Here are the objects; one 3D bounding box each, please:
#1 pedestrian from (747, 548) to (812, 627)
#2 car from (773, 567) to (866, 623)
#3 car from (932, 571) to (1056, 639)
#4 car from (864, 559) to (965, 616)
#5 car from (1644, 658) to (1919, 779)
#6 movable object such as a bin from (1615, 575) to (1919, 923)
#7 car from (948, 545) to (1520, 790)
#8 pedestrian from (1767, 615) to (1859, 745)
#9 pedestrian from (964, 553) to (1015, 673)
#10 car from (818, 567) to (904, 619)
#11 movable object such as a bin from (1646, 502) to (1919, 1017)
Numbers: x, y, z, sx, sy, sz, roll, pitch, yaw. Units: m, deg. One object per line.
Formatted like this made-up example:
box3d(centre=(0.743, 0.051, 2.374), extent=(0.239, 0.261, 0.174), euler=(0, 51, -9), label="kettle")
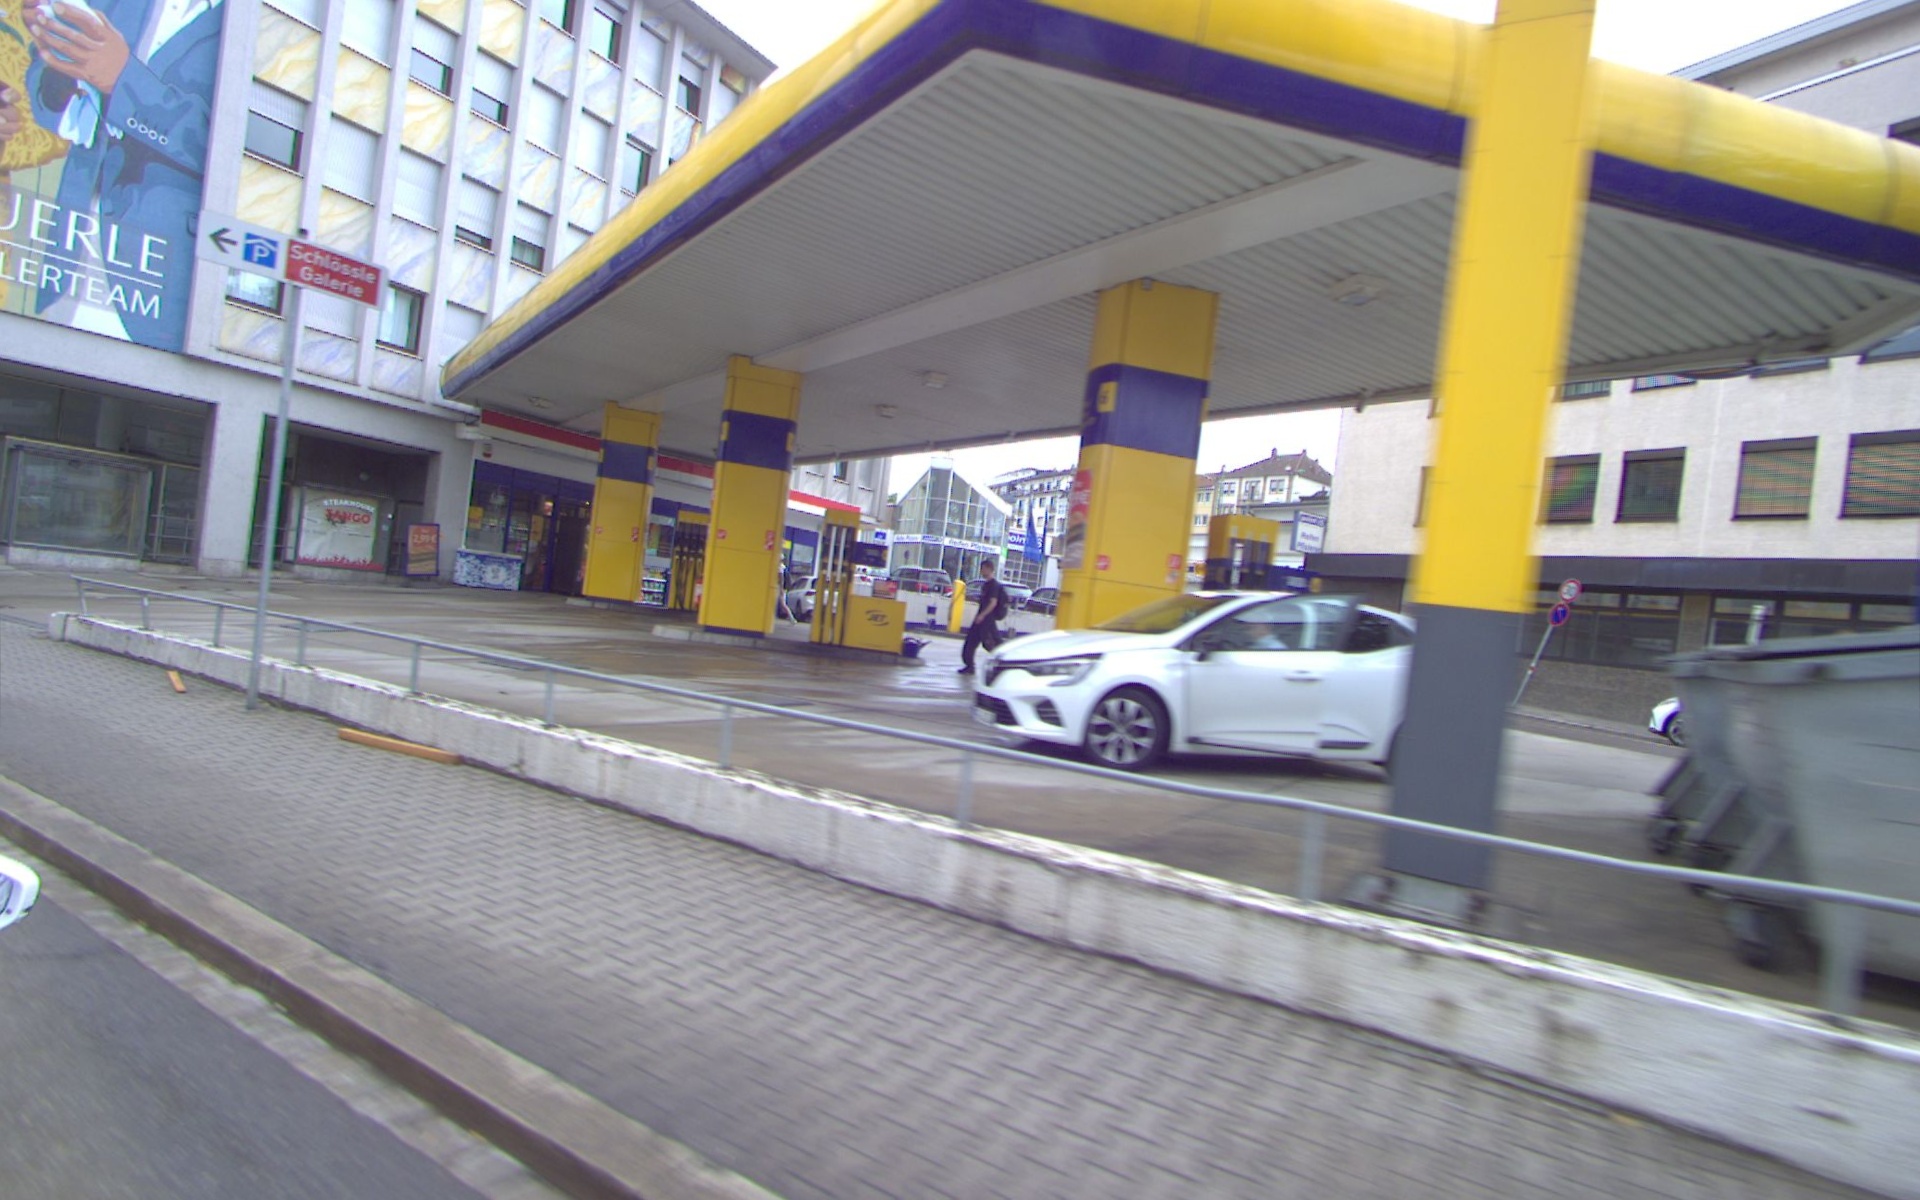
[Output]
box3d(centre=(-4.472, -0.308, 24.913), extent=(1.268, 1.821, 0.653), euler=(6, 2, 20), label="pedestrian")
box3d(centre=(-4.638, -0.186, 32.730), extent=(1.971, 1.534, 4.399), euler=(5, -1, -21), label="car")
box3d(centre=(1.070, 0.118, 34.344), extent=(1.979, 1.886, 4.547), euler=(8, -2, -29), label="car")
box3d(centre=(-1.880, -0.545, 39.811), extent=(1.979, 1.886, 4.547), euler=(8, -2, -29), label="car")
box3d(centre=(15.180, 2.129, 18.183), extent=(1.789, 1.495, 4.174), euler=(10, -1, -32), label="car")
box3d(centre=(4.979, 0.782, 5.866), extent=(1.744, 1.575, 2.156), euler=(7, 1, 32), label="movable object such as a bin")
box3d(centre=(2.068, 0.514, 7.978), extent=(3.936, 1.461, 1.740), euler=(5, 1, -15), label="car")
box3d(centre=(10.585, 0.978, 12.498), extent=(0.471, 1.532, 0.574), euler=(7, -1, -9), label="pedestrian")
box3d(centre=(0.451, 0.191, 15.613), extent=(0.521, 1.796, 0.658), euler=(4, 3, -10), label="pedestrian")
box3d(centre=(-4.482, -0.354, 44.723), extent=(1.979, 1.886, 4.547), euler=(8, -2, -29), label="car")
box3d(centre=(3.875, 0.609, 3.918), extent=(1.744, 1.594, 2.157), euler=(7, 0, 32), label="movable object such as a bin")
